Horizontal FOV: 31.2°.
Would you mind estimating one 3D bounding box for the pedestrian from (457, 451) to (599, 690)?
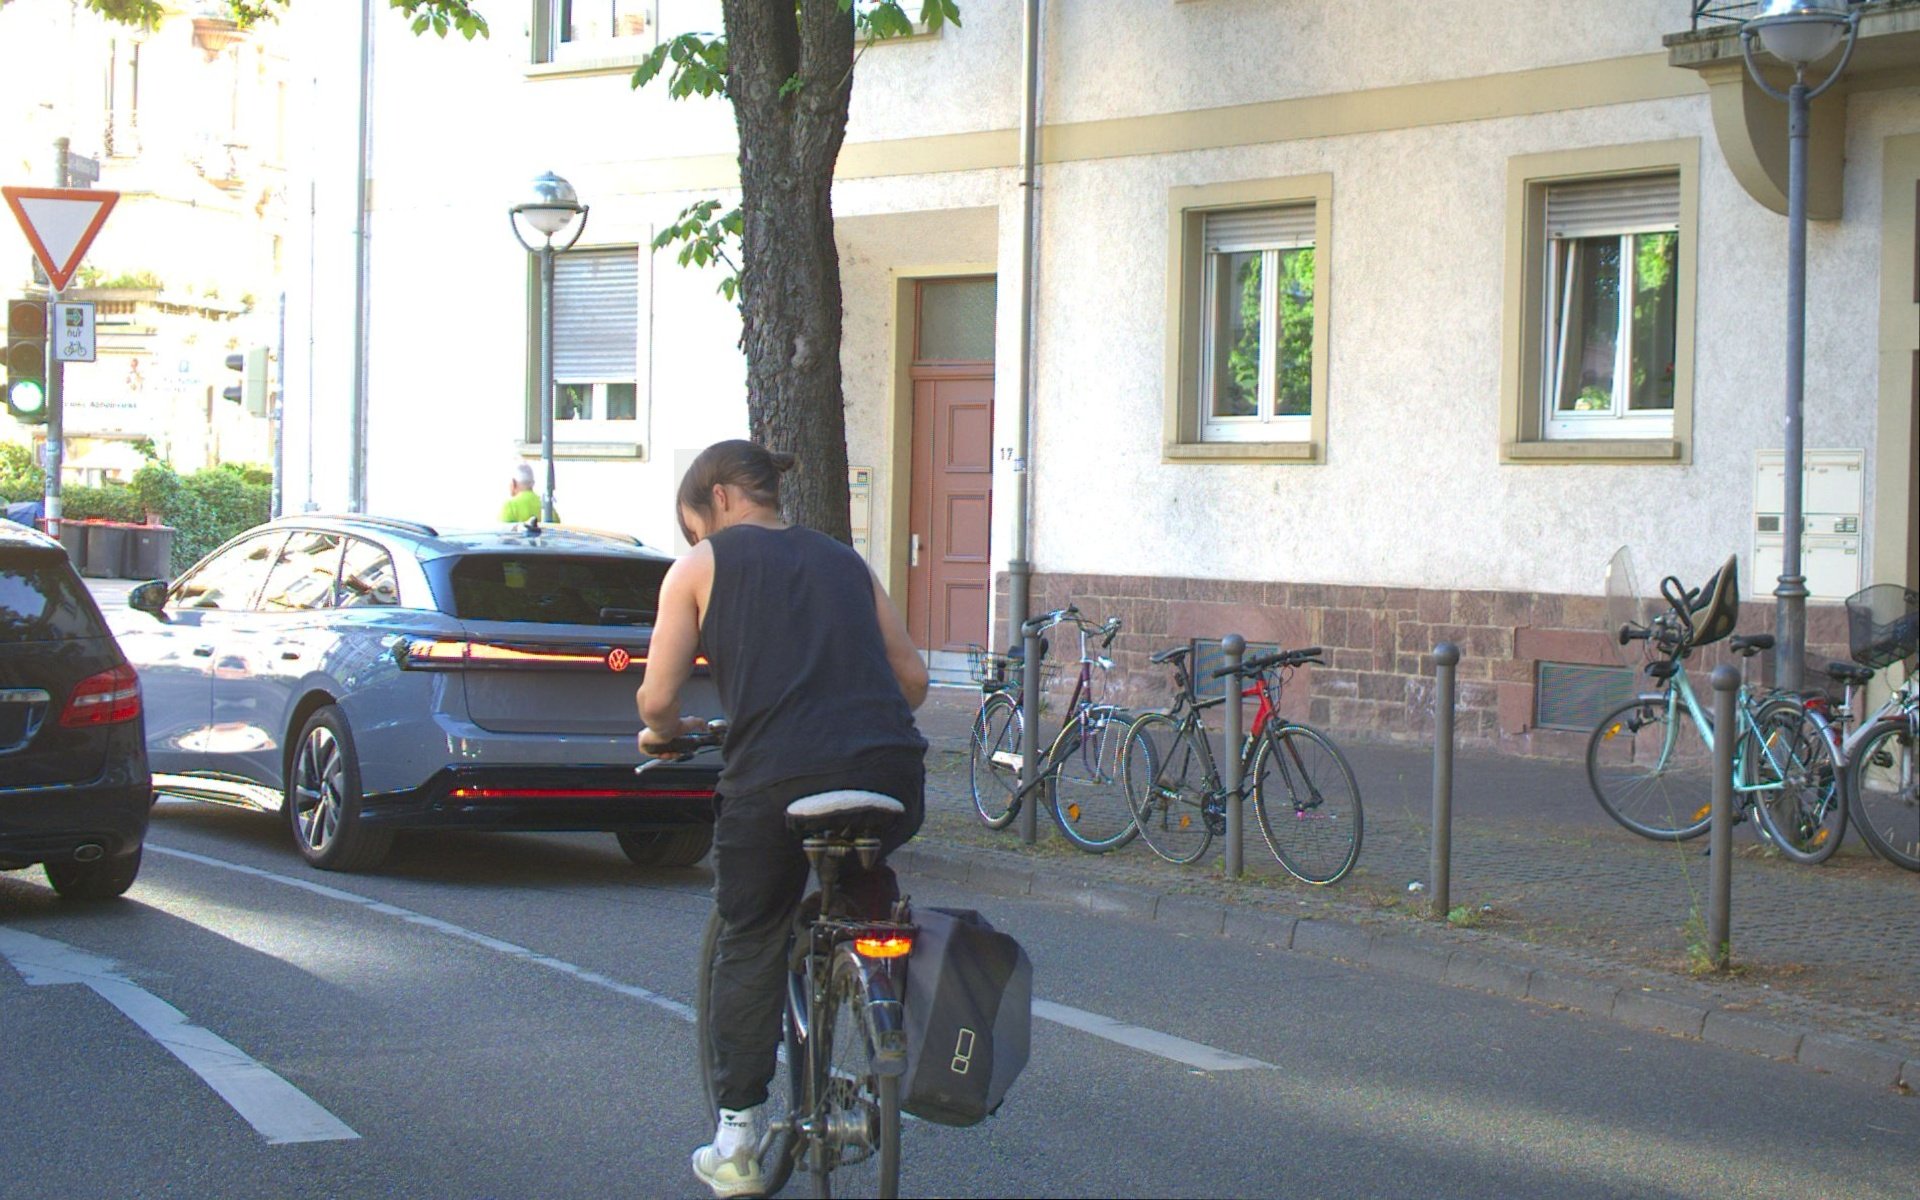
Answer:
[{"bbox_3d":[-3.189,-0.234,25.359,0.643,1.721,0.888,-3,3,-39],"label":"pedestrian"}]

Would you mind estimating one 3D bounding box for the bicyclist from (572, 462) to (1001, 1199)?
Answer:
[{"bbox_3d":[-0.384,0.547,7.102,0.686,1.650,0.990,0,2,-15],"label":"bicyclist"}]

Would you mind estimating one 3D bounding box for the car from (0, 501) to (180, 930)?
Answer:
[{"bbox_3d":[-4.720,0.375,13.876,1.790,1.536,3.860,-2,2,-34],"label":"car"}]

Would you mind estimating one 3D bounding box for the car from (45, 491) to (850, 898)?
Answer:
[{"bbox_3d":[-2.560,0.361,16.127,1.970,1.580,4.475,3,0,-33],"label":"car"}]

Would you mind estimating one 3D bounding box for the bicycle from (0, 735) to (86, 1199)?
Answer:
[{"bbox_3d":[-2.441,0.777,6.664,0.717,1.103,1.966,1,2,-37],"label":"bicycle"}]

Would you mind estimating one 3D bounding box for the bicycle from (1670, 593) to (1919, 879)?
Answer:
[{"bbox_3d":[3.904,0.556,14.902,0.667,1.103,1.967,1,1,-19],"label":"bicycle"}]

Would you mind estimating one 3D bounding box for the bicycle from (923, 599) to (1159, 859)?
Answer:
[{"bbox_3d":[0.357,0.570,16.002,0.480,1.060,1.636,-2,3,-22],"label":"bicycle"}]

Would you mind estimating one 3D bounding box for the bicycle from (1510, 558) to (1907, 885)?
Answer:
[{"bbox_3d":[3.192,0.477,14.884,0.717,1.273,1.967,-1,2,-21],"label":"bicycle"}]

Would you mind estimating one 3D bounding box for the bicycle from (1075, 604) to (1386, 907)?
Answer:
[{"bbox_3d":[1.104,0.614,14.409,0.526,1.103,1.741,-2,3,-24],"label":"bicycle"}]
